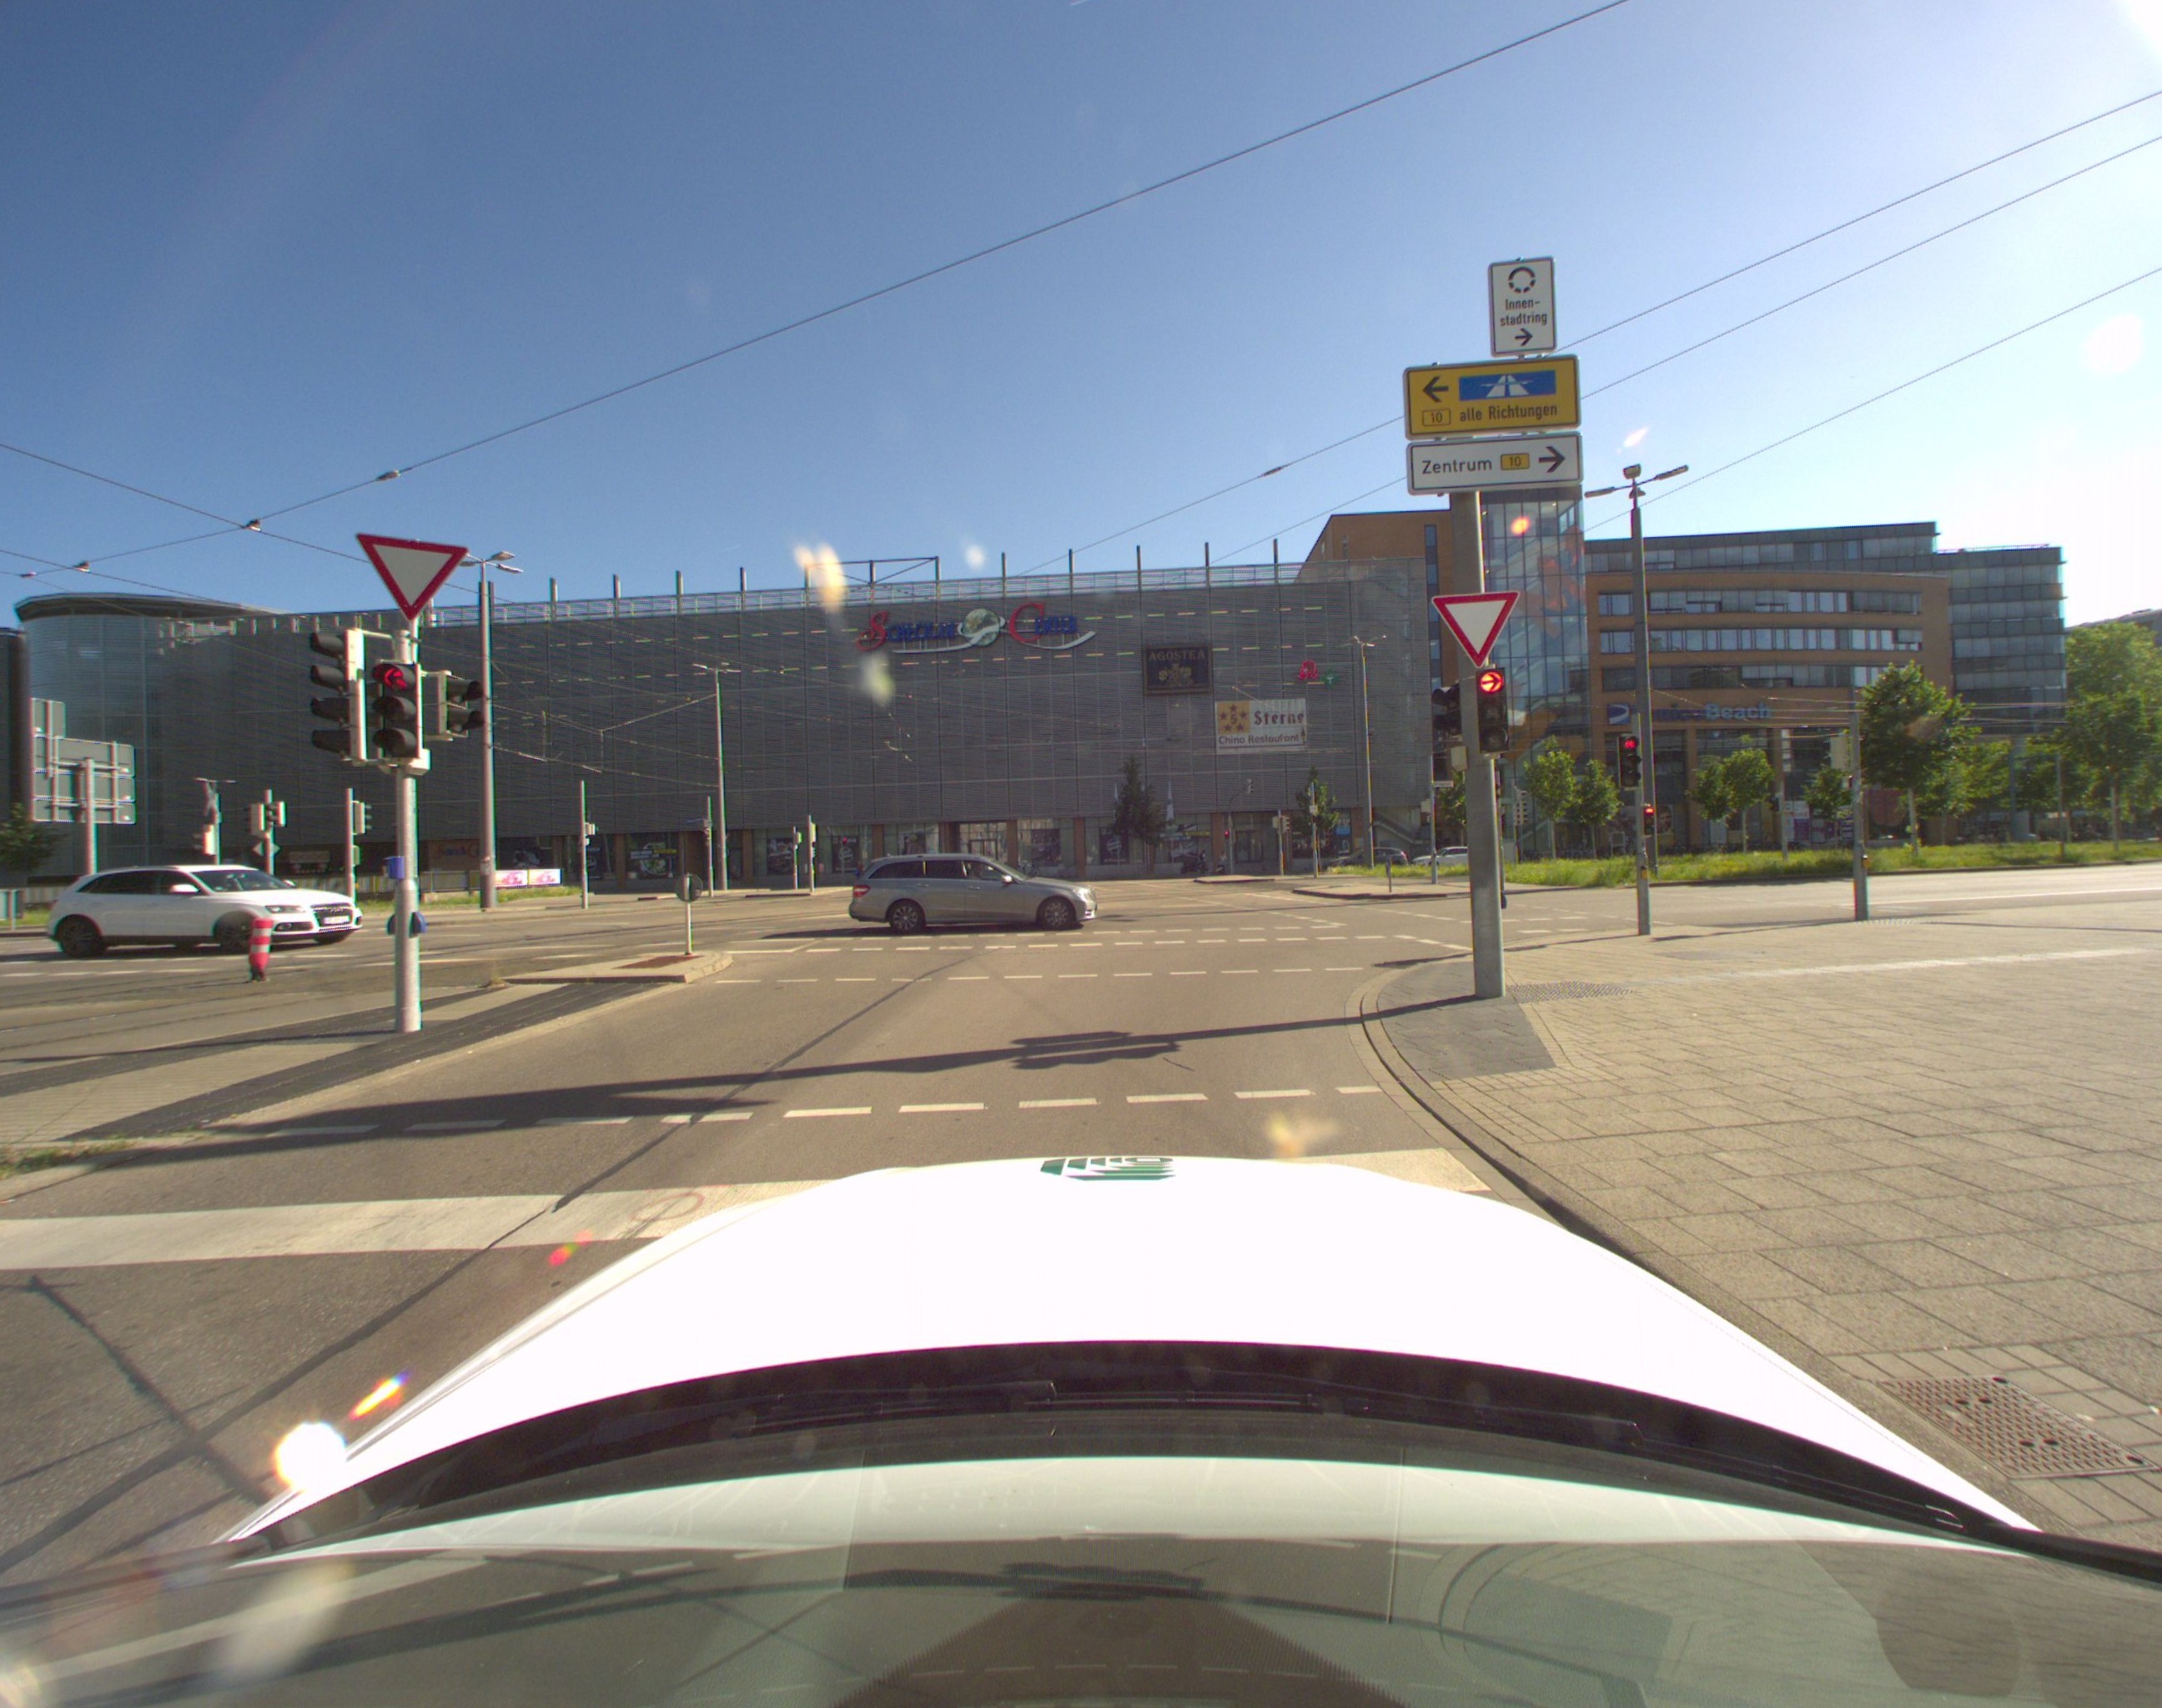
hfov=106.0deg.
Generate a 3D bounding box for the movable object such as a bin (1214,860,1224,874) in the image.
[{"bbox_3d":[9.269,0.878,54.736,0.608,0.904,0.972,-1,-1,12],"label":"movable object such as a bin"}]

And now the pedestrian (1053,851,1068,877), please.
[{"bbox_3d":[-1.497,0.713,59.826,0.945,1.829,0.847,-3,-4,7],"label":"pedestrian"}]

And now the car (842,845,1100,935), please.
[{"bbox_3d":[-2.106,0.677,16.355,4.844,1.572,1.705,-2,0,-3],"label":"car"}]

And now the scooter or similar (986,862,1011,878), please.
[{"bbox_3d":[-6.186,1.199,61.228,1.790,1.066,0.611,-2,1,-6],"label":"scooter or similar"}]

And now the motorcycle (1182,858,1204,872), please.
[{"bbox_3d":[8.310,0.827,60.593,1.630,1.004,0.448,0,0,8],"label":"motorcycle"}]

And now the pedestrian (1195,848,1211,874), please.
[{"bbox_3d":[8.884,0.501,59.186,1.007,1.828,1.037,-3,0,5],"label":"pedestrian"}]

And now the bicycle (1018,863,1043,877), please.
[{"bbox_3d":[-3.784,1.170,60.787,1.815,0.989,0.556,-2,1,-8],"label":"bicycle"}]

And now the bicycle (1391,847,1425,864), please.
[{"bbox_3d":[24.341,0.109,60.616,2.247,1.296,0.606,0,-1,0],"label":"bicycle"}]

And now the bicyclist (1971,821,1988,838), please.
[{"bbox_3d":[72.964,-1.998,66.113,0.750,1.386,0.566,-2,1,1],"label":"bicyclist"}]

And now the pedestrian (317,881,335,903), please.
[{"bbox_3d":[-54.837,2.741,59.165,0.656,1.601,0.652,-1,-1,8],"label":"pedestrian"}]

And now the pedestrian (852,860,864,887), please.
[{"bbox_3d":[-15.205,1.306,55.459,0.695,1.797,0.727,-3,0,-14],"label":"pedestrian"}]

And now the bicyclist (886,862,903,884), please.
[{"bbox_3d":[-12.631,1.270,55.234,0.667,1.427,0.855,-1,2,45],"label":"bicyclist"}]

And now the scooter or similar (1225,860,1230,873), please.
[{"bbox_3d":[9.918,0.866,55.004,0.293,0.873,1.007,-1,-1,12],"label":"scooter or similar"}]

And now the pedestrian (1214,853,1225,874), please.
[{"bbox_3d":[9.403,0.627,55.199,0.650,1.414,0.853,-1,-1,12],"label":"pedestrian"}]

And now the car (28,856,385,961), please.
[{"bbox_3d":[-16.537,0.978,15.600,4.653,1.707,1.937,-2,0,0],"label":"car"}]

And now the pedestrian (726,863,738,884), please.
[{"bbox_3d":[-26.933,1.511,62.875,0.654,1.601,0.597,-1,-1,20],"label":"pedestrian"}]

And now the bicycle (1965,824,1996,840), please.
[{"bbox_3d":[73.052,-1.763,66.120,1.850,1.217,0.569,-2,1,1],"label":"bicycle"}]

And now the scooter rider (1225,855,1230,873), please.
[{"bbox_3d":[9.905,0.702,54.946,0.286,1.200,0.387,-1,-1,12],"label":"scooter rider"}]

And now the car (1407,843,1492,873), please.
[{"bbox_3d":[22.122,0.228,48.997,4.274,1.645,1.841,2,-1,1],"label":"car"}]

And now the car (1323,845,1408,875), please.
[{"bbox_3d":[15.881,0.345,45.617,4.132,1.470,1.841,2,-1,0],"label":"car"}]
